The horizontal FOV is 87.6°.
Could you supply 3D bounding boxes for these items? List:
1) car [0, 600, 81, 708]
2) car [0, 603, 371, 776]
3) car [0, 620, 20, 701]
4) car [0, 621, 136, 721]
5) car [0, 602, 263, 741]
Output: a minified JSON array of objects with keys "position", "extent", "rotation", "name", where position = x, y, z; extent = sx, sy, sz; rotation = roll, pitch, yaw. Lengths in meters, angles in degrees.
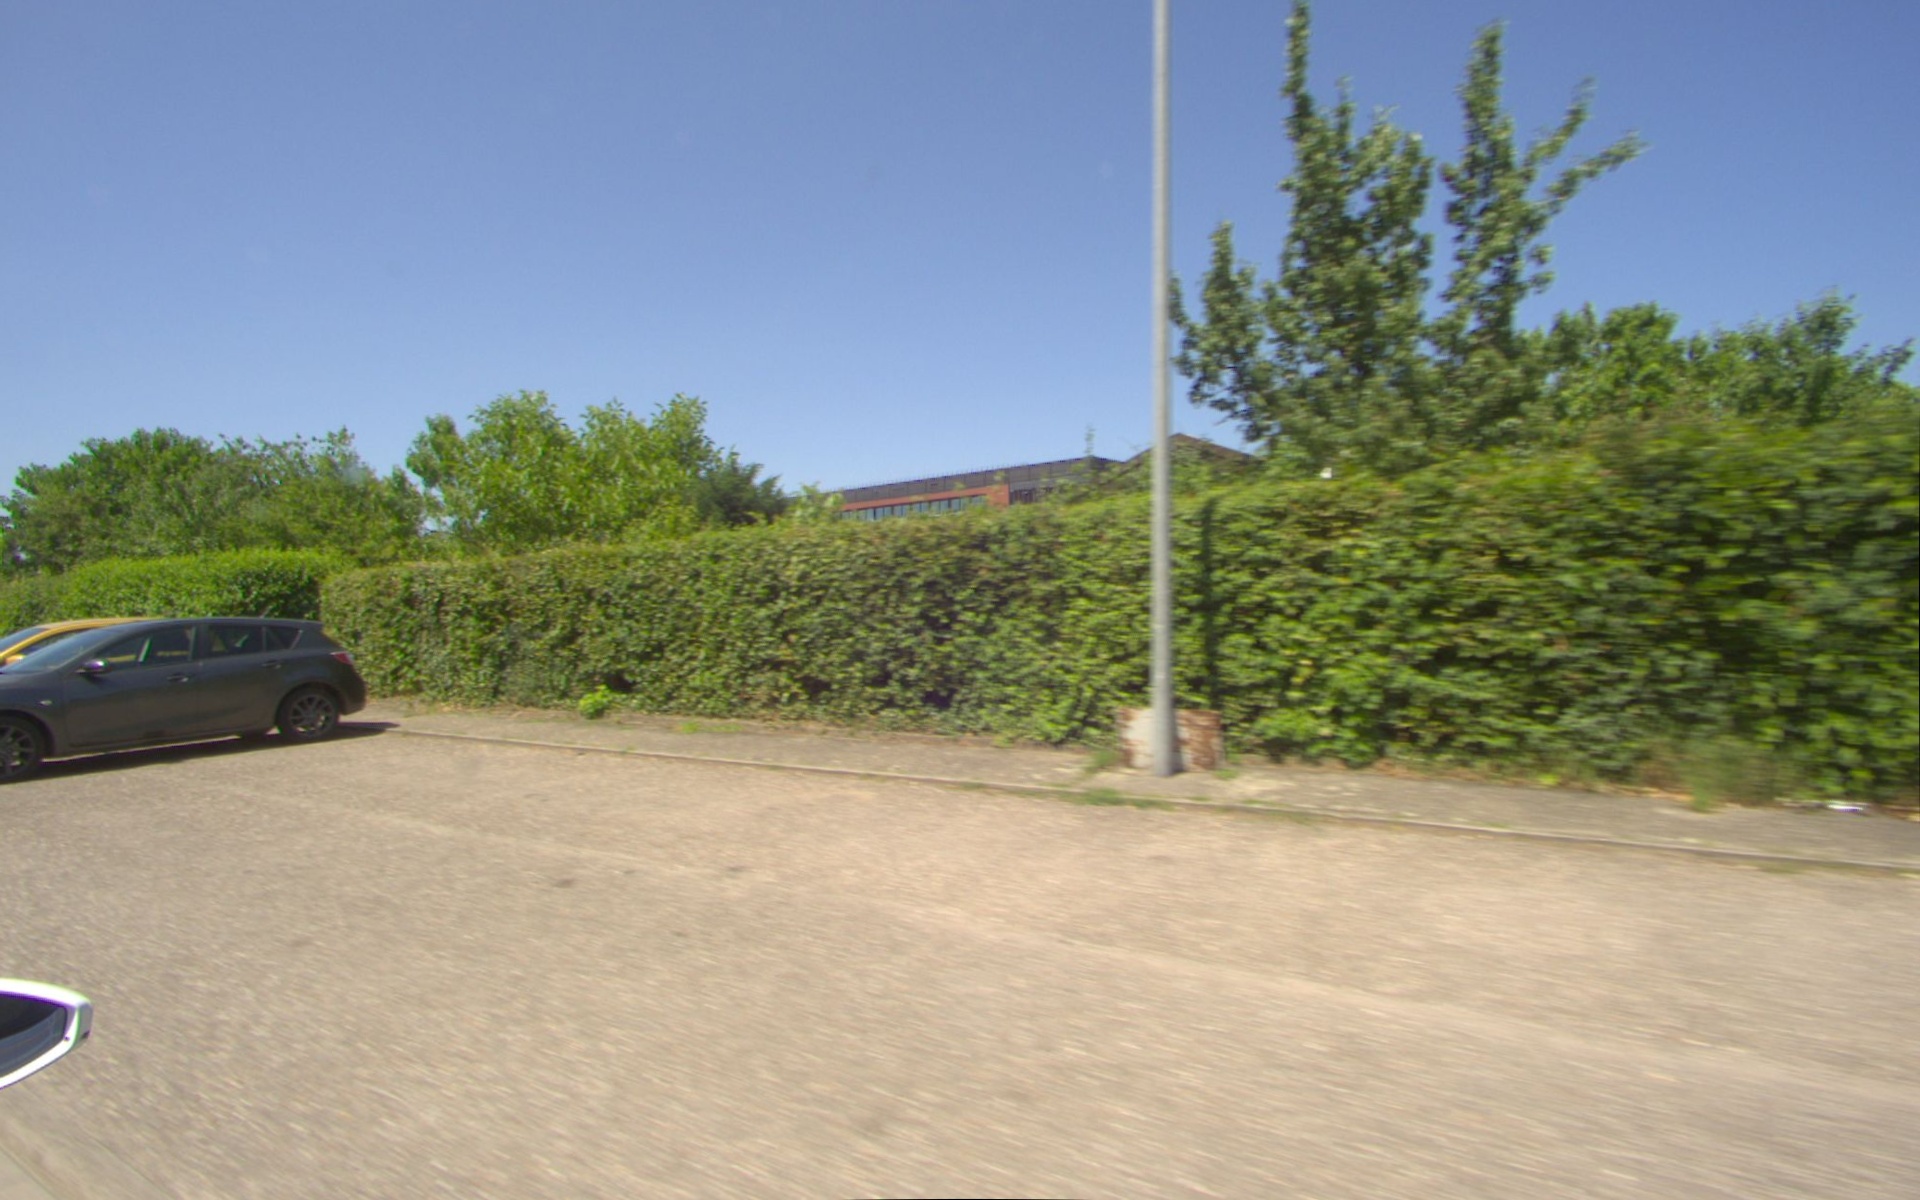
[{"position":[-16.486,0.918,15.287],"extent":[1.797,1.656,4.227],"rotation":[0,2,32],"name":"car"},{"position":[-8.928,0.847,10.688],"extent":[1.856,1.515,4.154],"rotation":[-1,1,32],"name":"car"},{"position":[-19.039,1.110,16.992],"extent":[1.785,1.458,4.129],"rotation":[0,0,25],"name":"car"},{"position":[-14.103,1.050,13.931],"extent":[1.606,1.285,3.722],"rotation":[-1,2,34],"name":"car"},{"position":[-11.332,0.865,12.582],"extent":[1.749,1.475,3.791],"rotation":[-1,2,32],"name":"car"}]
